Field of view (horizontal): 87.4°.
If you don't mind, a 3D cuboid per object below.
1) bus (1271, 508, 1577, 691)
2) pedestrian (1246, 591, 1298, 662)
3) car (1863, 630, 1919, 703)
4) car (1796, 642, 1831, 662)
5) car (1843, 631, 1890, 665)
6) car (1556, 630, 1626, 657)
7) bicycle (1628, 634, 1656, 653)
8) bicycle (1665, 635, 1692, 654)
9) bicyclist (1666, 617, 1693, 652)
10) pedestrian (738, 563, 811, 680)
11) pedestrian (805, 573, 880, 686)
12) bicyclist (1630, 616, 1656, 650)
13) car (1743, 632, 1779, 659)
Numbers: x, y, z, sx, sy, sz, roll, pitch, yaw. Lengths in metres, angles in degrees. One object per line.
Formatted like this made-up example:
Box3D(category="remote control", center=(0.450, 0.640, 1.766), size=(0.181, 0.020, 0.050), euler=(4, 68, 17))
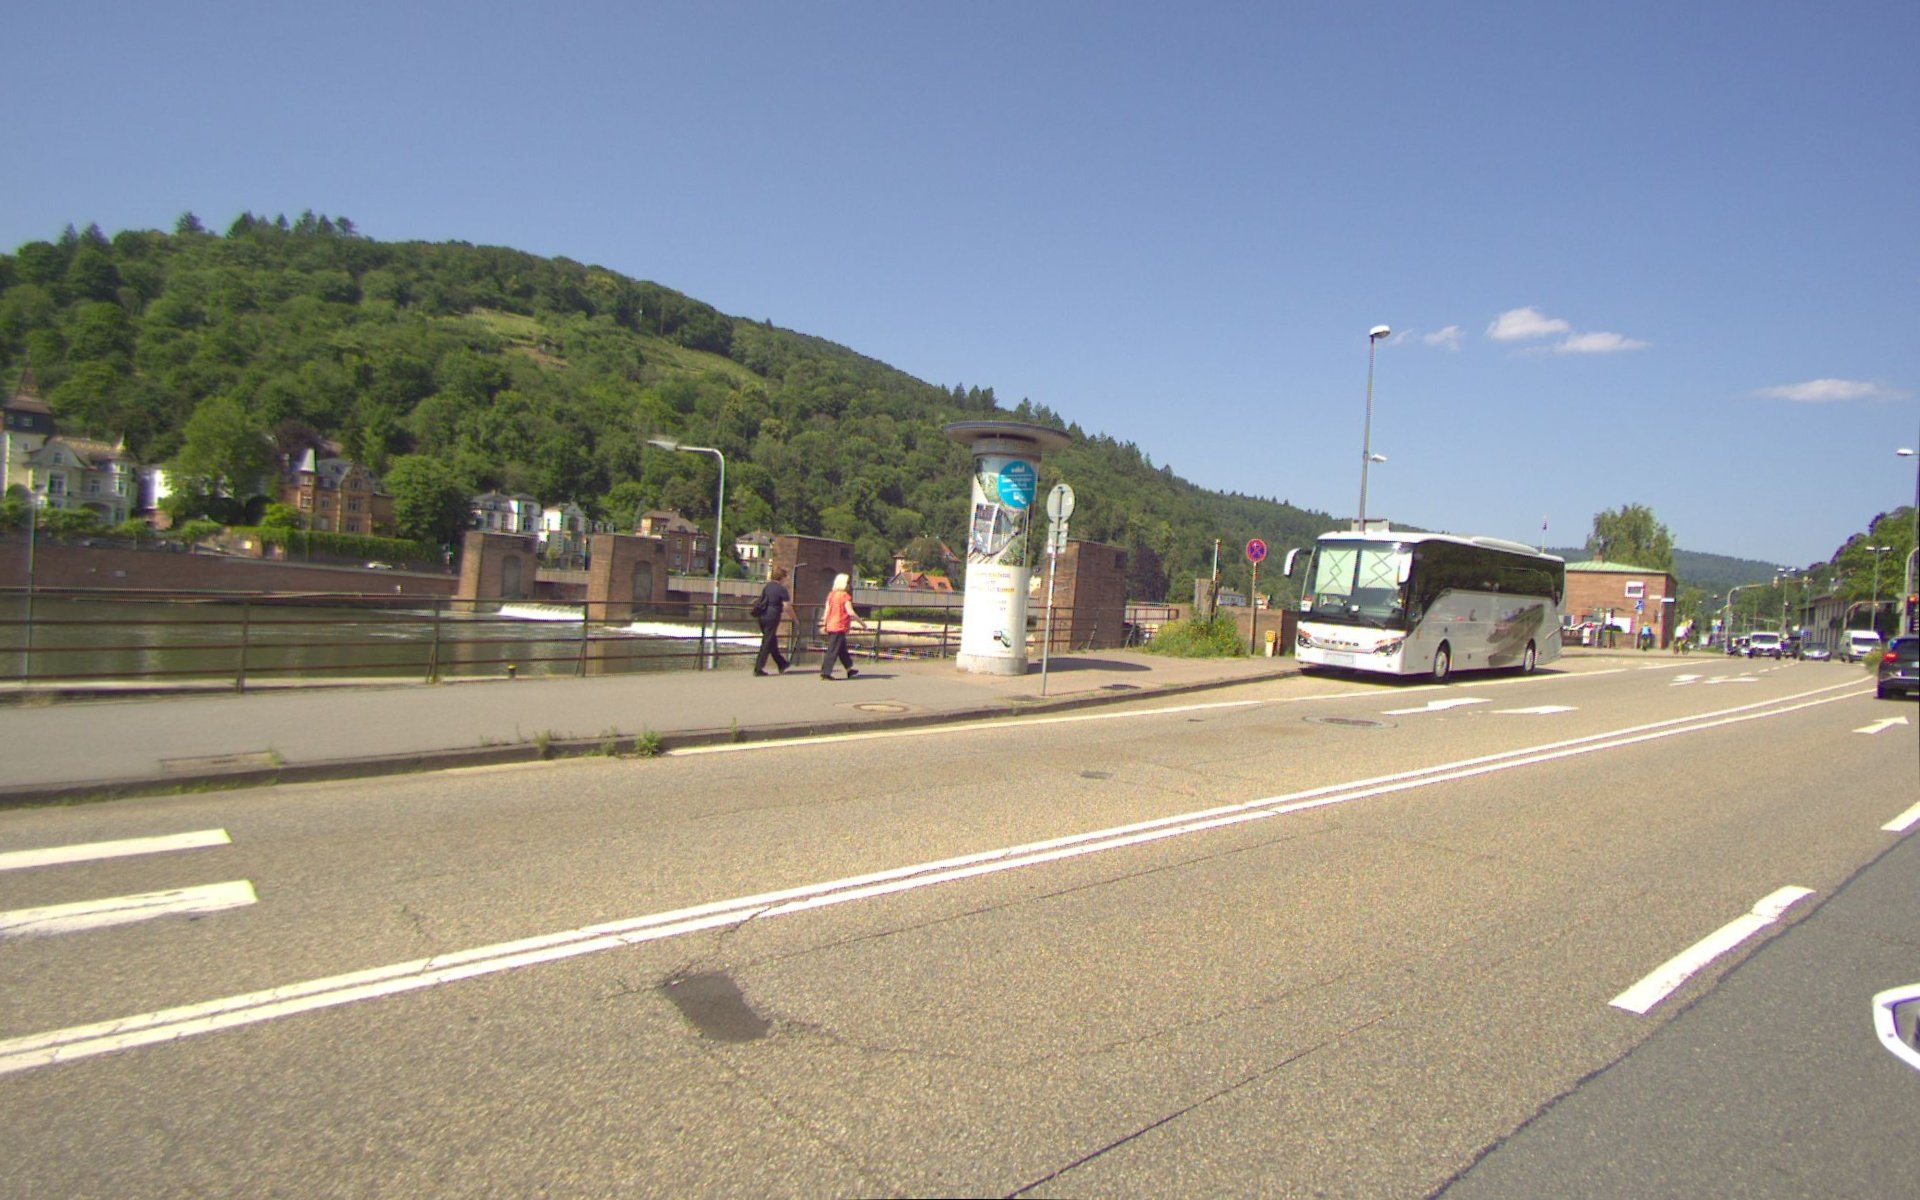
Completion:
Box3D(category="bus", center=(13.066, 0.054, 27.112), size=(2.926, 3.851, 13.160), euler=(7, 3, 45))
Box3D(category="pedestrian", center=(8.313, 0.694, 26.731), size=(0.883, 1.820, 1.034), euler=(3, 0, 44))
Box3D(category="car", center=(22.784, 1.577, 23.576), size=(4.120, 1.534, 1.852), euler=(3, 1, -42))
Box3D(category="car", center=(69.677, 4.214, 82.016), size=(1.972, 1.451, 4.143), euler=(1, 0, 43))
Box3D(category="car", center=(73.630, 3.863, 81.671), size=(2.354, 2.610, 6.029), euler=(1, -1, 39))
Box3D(category="car", center=(53.066, 3.621, 84.514), size=(4.524, 2.040, 2.001), euler=(2, 0, 7))
Box3D(category="bicycle", center=(41.669, 2.645, 61.374), size=(1.198, 1.105, 2.586), euler=(1, 0, 39))
Box3D(category="bicycle", center=(43.727, 2.684, 61.104), size=(1.198, 1.105, 2.586), euler=(1, 0, 39))
Box3D(category="bicyclist", center=(43.745, 2.087, 61.083), size=(1.198, 2.040, 1.113), euler=(2, 0, 40))
Box3D(category="pedestrian", center=(-2.831, 0.323, 15.334), size=(0.675, 1.731, 0.769), euler=(3, 0, 43))
Box3D(category="pedestrian", center=(-1.783, 0.439, 15.253), size=(0.694, 1.642, 0.813), euler=(3, 0, 39))
Box3D(category="bicyclist", center=(41.878, 2.009, 61.614), size=(1.198, 2.040, 1.113), euler=(2, 0, 40))
Box3D(category="car", center=(66.782, 3.749, 83.728), size=(2.188, 2.106, 5.019), euler=(1, 0, 40))
